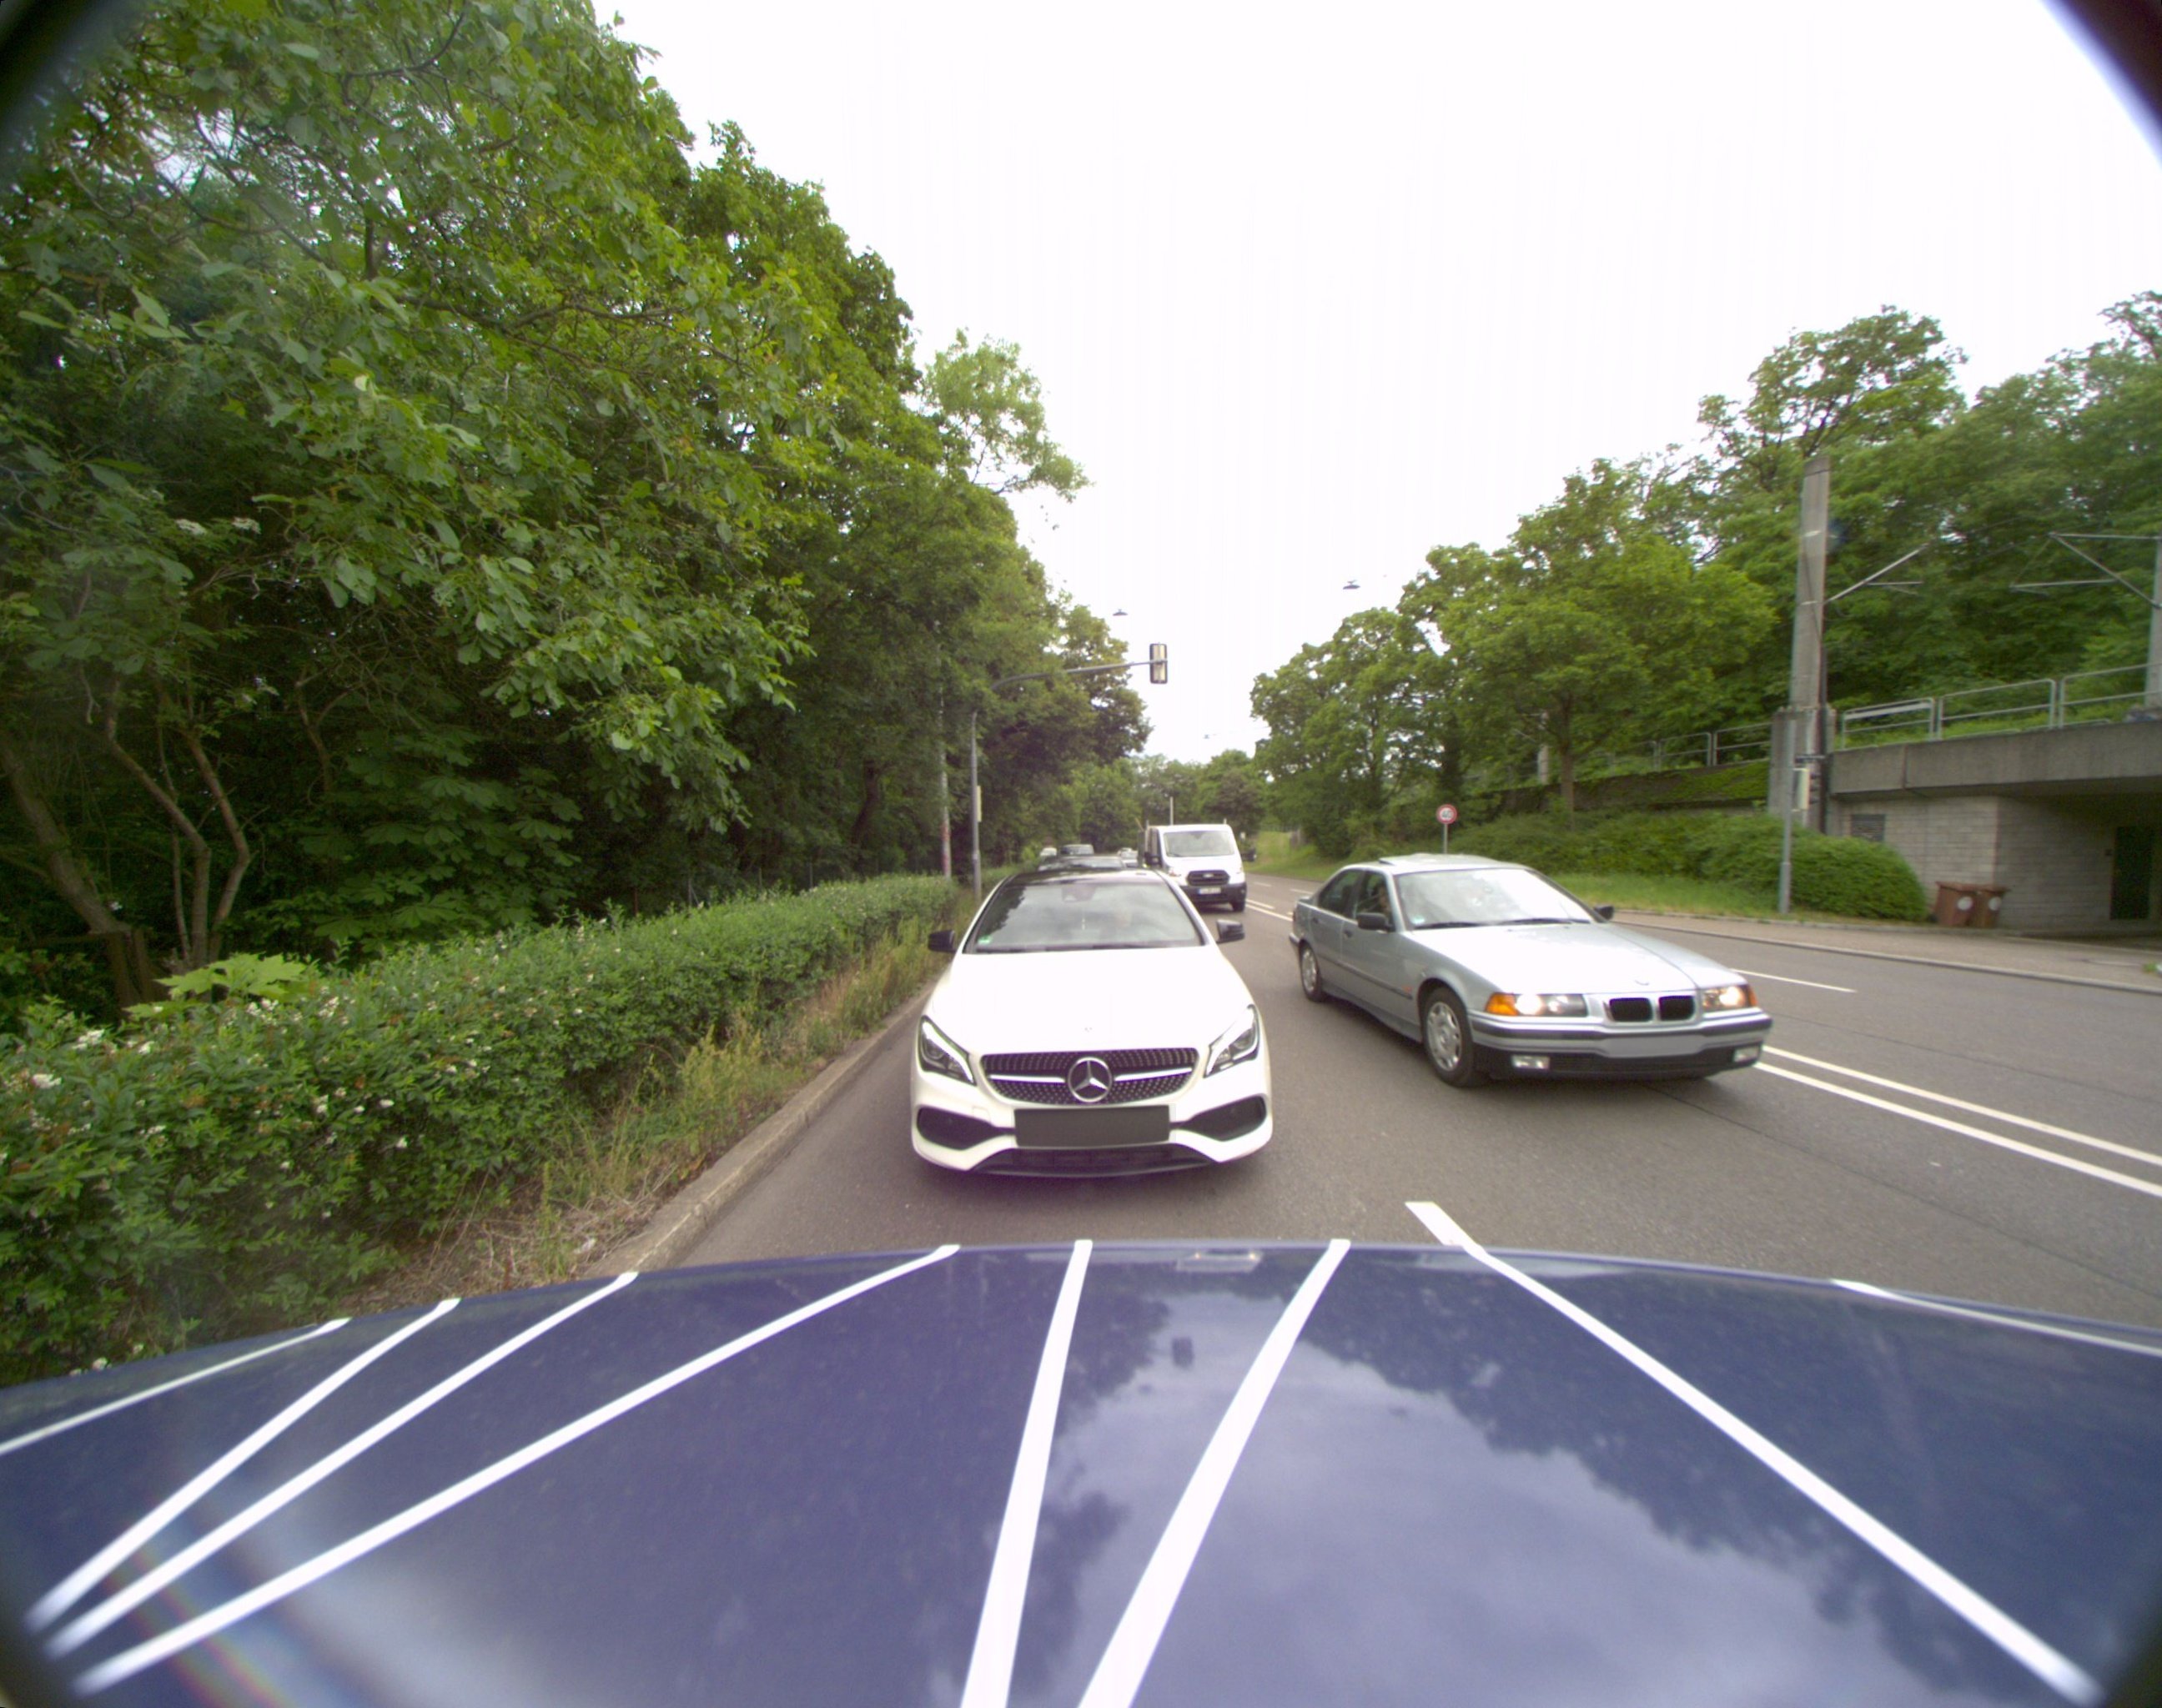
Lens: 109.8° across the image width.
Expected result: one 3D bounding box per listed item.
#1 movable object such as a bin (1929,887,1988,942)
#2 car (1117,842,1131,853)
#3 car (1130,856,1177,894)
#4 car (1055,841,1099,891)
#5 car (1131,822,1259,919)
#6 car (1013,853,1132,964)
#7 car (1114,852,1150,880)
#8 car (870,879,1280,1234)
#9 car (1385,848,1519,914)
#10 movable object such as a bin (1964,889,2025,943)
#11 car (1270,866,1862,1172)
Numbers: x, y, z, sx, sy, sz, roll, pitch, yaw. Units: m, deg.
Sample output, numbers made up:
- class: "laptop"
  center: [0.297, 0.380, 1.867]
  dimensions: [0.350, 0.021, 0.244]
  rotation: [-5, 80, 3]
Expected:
- class: "movable object such as a bin"
  center: [18.373, 1.263, 15.915]
  dimensions: [0.544, 1.092, 0.563]
  rotation: [1, 1, -1]
- class: "car"
  center: [5.911, -0.898, 104.301]
  dimensions: [1.677, 1.532, 4.616]
  rotation: [-1, 0, 5]
- class: "car"
  center: [3.215, 0.900, 34.368]
  dimensions: [1.677, 1.532, 4.552]
  rotation: [-1, 1, 0]
- class: "car"
  center: [-0.210, 0.499, 34.089]
  dimensions: [1.826, 2.059, 4.614]
  rotation: [-1, 0, -1]
- class: "car"
  center: [2.794, 0.337, 20.471]
  dimensions: [2.253, 2.114, 6.667]
  rotation: [-2, 1, -2]
- class: "car"
  center: [-0.168, 0.768, 13.101]
  dimensions: [1.678, 1.532, 4.614]
  rotation: [-1, 1, -1]
- class: "car"
  center: [2.907, 0.649, 44.228]
  dimensions: [1.678, 1.532, 4.614]
  rotation: [-1, 1, -1]
- class: "car"
  center: [-0.030, 0.975, 5.527]
  dimensions: [1.807, 1.385, 4.283]
  rotation: [-1, 1, 0]
- class: "car"
  center: [9.400, 0.615, 19.575]
  dimensions: [1.677, 1.532, 3.749]
  rotation: [-1, 1, 1]
- class: "movable object such as a bin"
  center: [18.934, 1.280, 15.757]
  dimensions: [0.544, 1.070, 0.563]
  rotation: [1, 1, -1]
- class: "car"
  center: [2.978, 0.853, 6.064]
  dimensions: [1.757, 1.385, 4.614]
  rotation: [-1, 1, 0]
